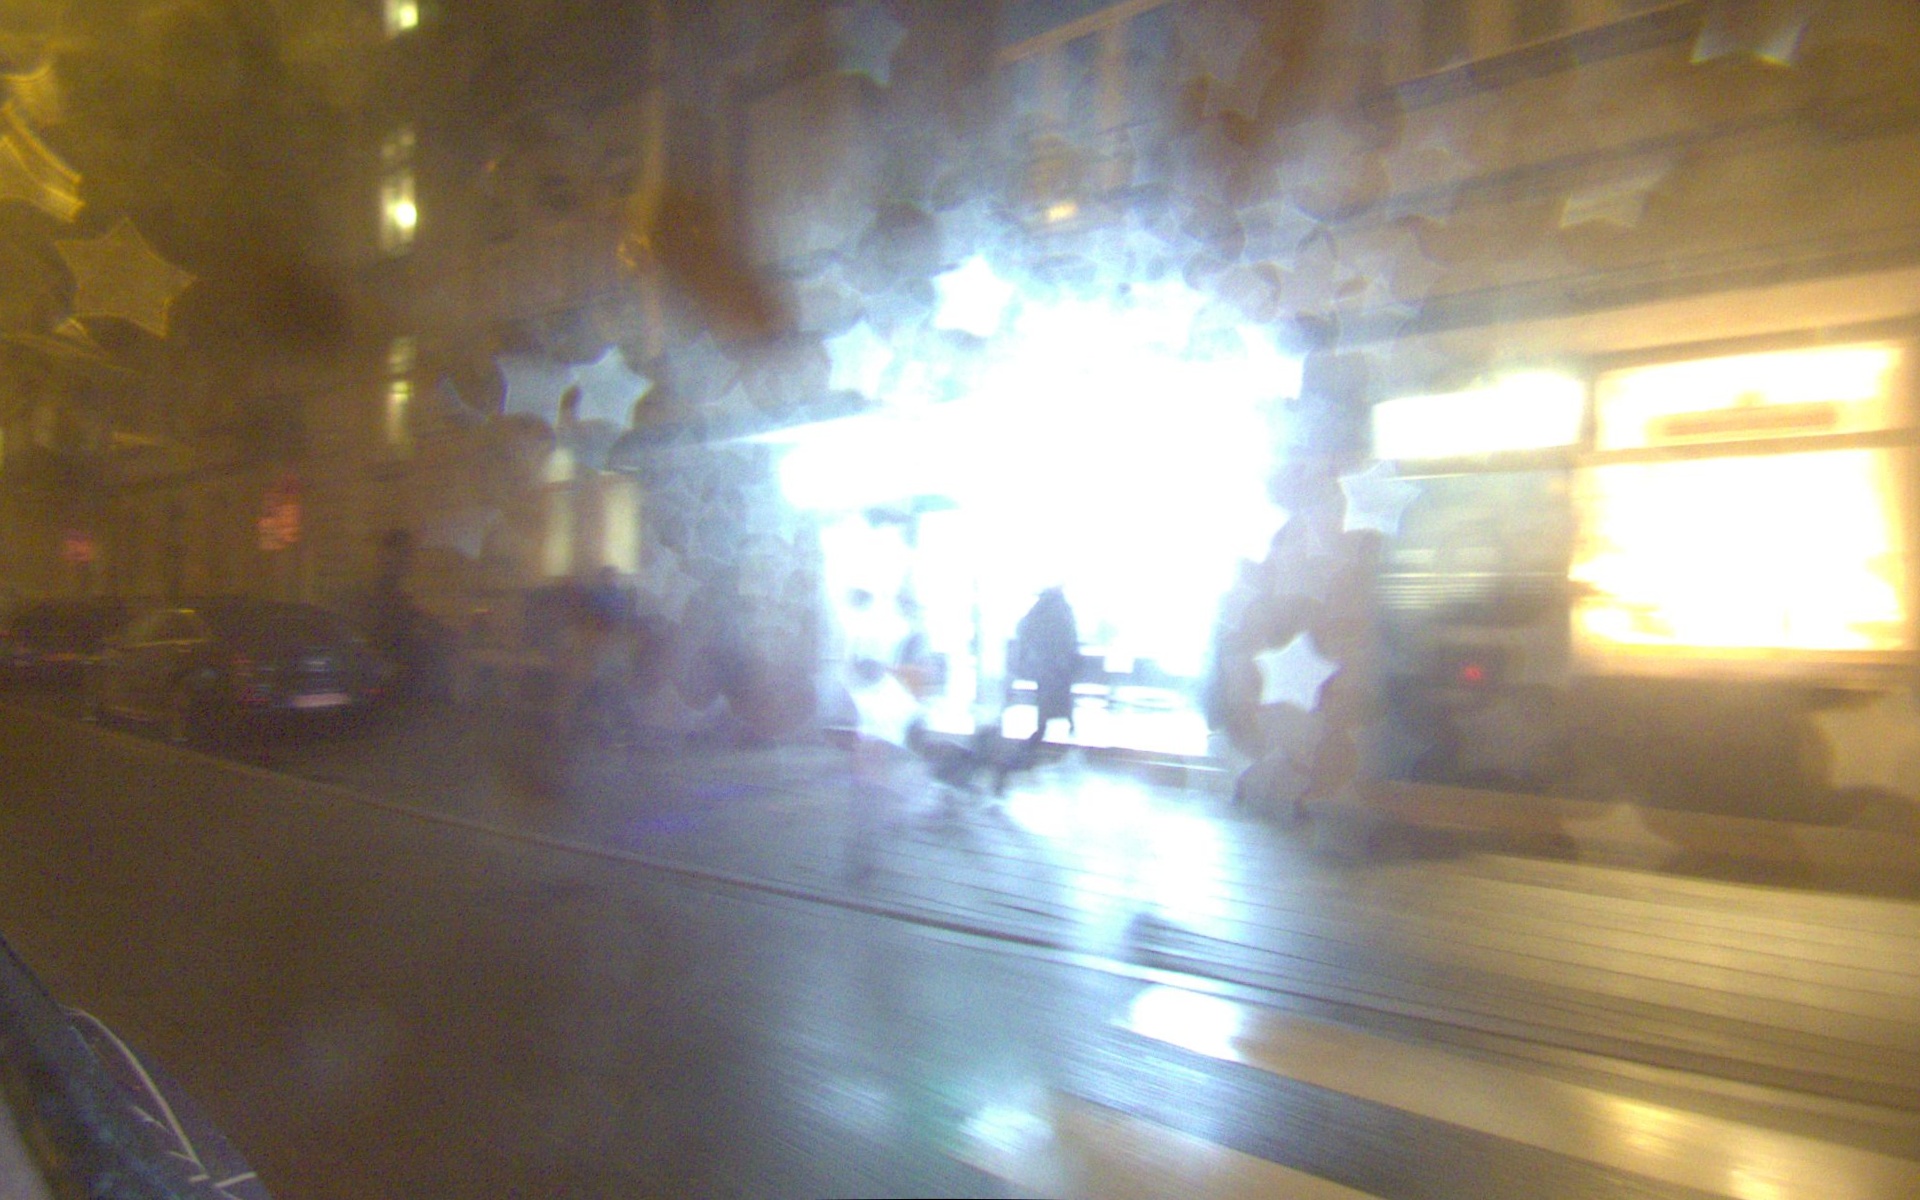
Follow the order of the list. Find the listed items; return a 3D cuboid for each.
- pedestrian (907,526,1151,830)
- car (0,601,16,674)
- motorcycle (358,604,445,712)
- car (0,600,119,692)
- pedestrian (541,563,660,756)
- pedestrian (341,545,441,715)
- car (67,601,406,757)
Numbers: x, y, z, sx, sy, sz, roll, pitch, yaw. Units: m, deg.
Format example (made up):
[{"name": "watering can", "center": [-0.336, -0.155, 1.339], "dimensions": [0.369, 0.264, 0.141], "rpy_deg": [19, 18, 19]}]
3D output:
[{"name": "pedestrian", "center": [0.480, 0.490, 7.055], "dimensions": [1.412, 1.877, 0.947], "rpy_deg": [0, -1, 35]}, {"name": "car", "center": [-21.289, 0.774, 21.194], "dimensions": [3.781, 1.489, 1.699], "rpy_deg": [0, 0, 39]}, {"name": "motorcycle", "center": [-8.049, 0.797, 14.576], "dimensions": [1.455, 1.482, 0.532], "rpy_deg": [0, 0, 36]}, {"name": "car", "center": [-16.930, 0.759, 18.175], "dimensions": [4.148, 1.489, 1.702], "rpy_deg": [0, -1, 34]}, {"name": "pedestrian", "center": [-3.656, 0.571, 10.285], "dimensions": [1.076, 1.846, 0.668], "rpy_deg": [0, 0, 38]}, {"name": "pedestrian", "center": [-7.911, 0.407, 14.074], "dimensions": [1.114, 2.258, 0.792], "rpy_deg": [0, -1, 35]}, {"name": "car", "center": [-8.644, 0.771, 11.913], "dimensions": [5.022, 1.489, 1.830], "rpy_deg": [0, -1, 37]}]
